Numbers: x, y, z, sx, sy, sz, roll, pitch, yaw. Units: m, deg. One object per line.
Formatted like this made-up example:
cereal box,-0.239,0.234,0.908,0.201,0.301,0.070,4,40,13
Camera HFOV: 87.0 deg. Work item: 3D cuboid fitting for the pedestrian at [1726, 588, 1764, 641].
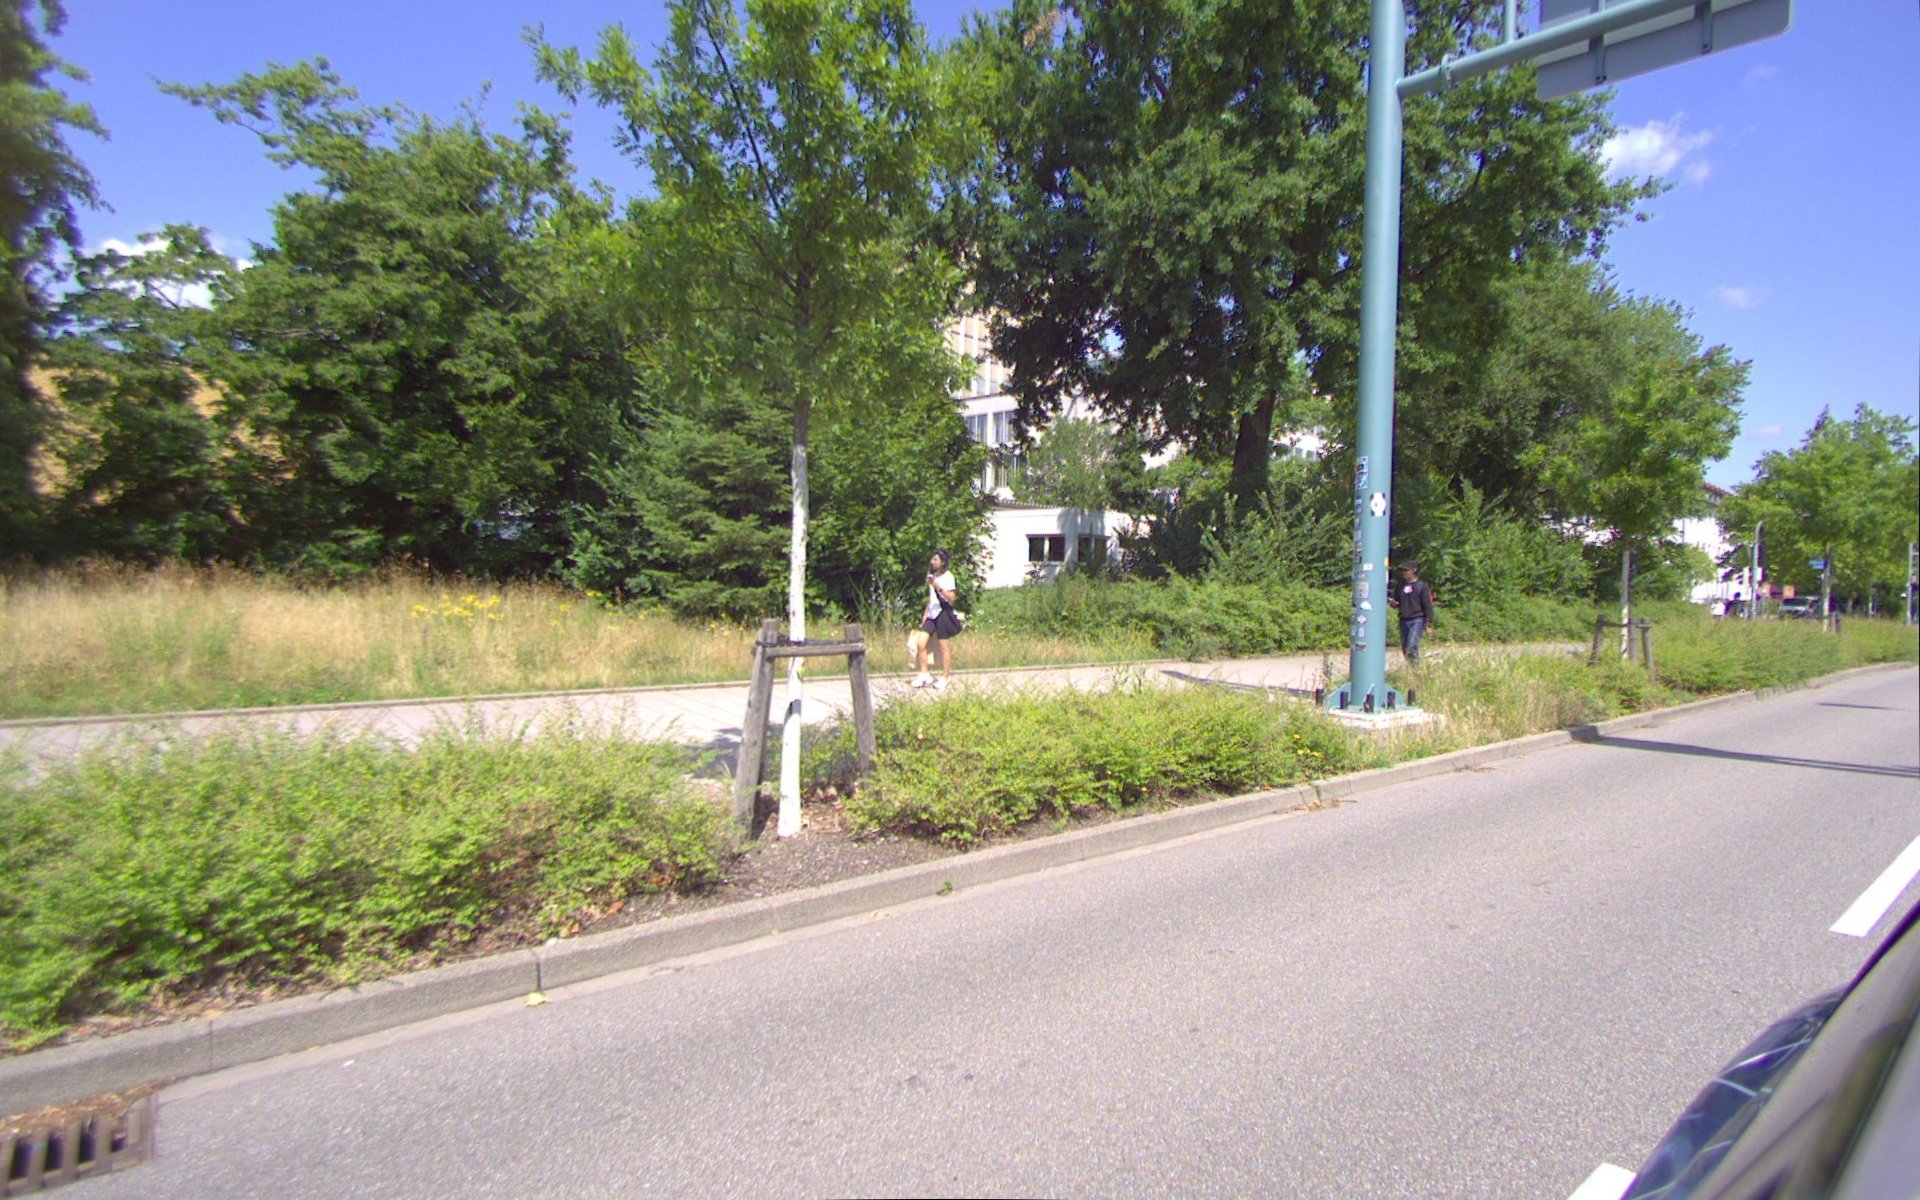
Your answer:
pedestrian,26.478,0.481,34.134,0.913,1.743,0.815,1,1,-39

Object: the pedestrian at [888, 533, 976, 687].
pedestrian,-0.334,0.104,11.973,0.733,1.743,0.724,1,1,-39

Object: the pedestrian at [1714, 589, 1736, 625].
pedestrian,40.994,0.374,54.243,0.874,1.896,0.959,1,1,38

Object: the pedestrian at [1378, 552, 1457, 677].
pedestrian,6.592,0.190,14.590,0.822,1.743,0.718,1,1,-39

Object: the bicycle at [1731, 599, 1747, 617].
bicycle,54.957,0.555,71.390,0.880,1.267,2.136,1,1,37

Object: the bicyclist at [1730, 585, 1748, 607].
bicyclist,54.886,-0.280,71.277,0.967,1.462,1.062,1,1,38

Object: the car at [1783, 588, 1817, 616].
car,65.871,0.178,79.336,1.992,2.080,4.166,2,1,41
